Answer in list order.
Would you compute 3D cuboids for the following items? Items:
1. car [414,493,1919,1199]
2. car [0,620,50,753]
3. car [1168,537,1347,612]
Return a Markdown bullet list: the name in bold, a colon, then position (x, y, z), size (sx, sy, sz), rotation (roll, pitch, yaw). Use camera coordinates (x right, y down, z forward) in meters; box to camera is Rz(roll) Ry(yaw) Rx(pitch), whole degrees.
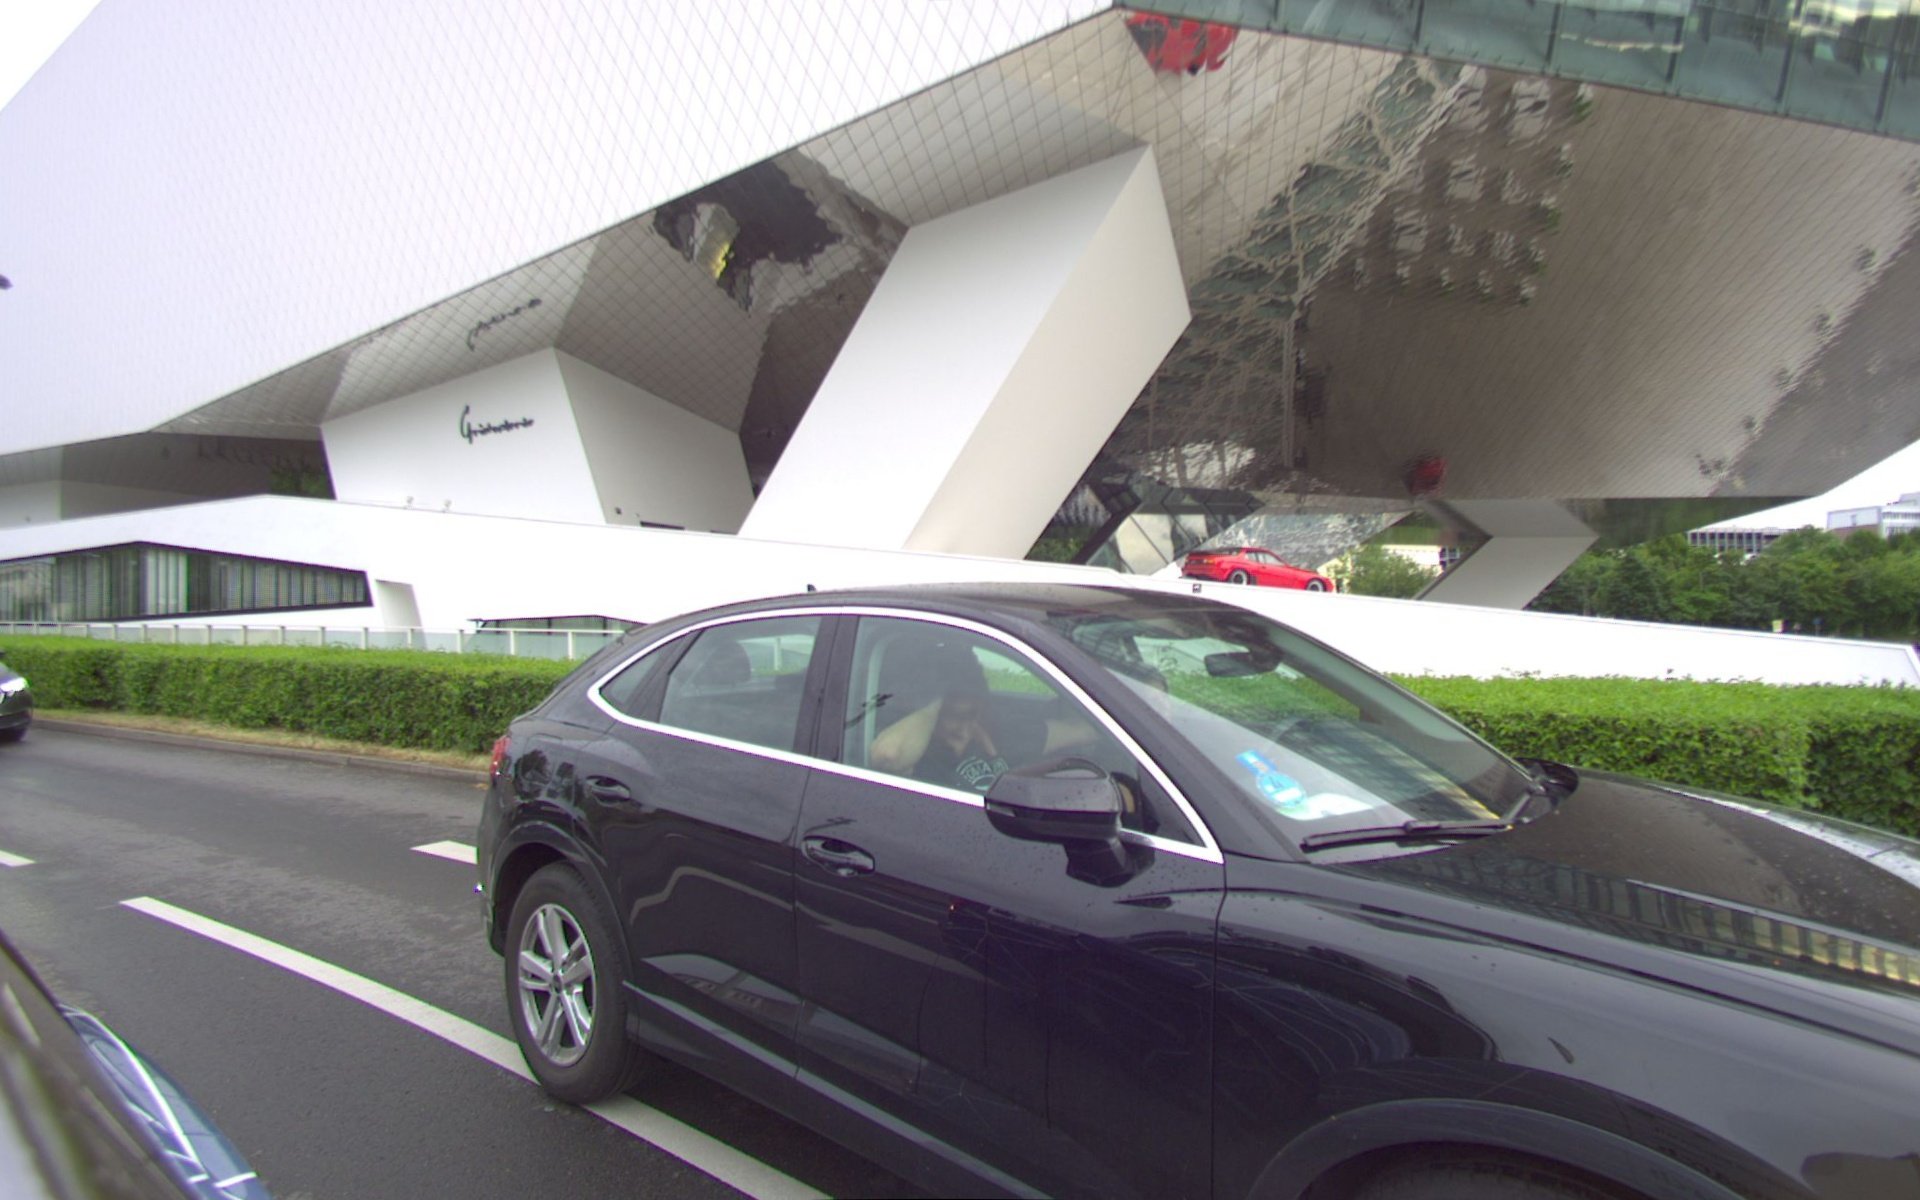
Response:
- **car**: position (0.346, 0.670, 2.705), size (4.392, 1.529, 1.734), rotation (-1, 0, 41)
- **car**: position (-12.691, 0.968, 11.792), size (4.282, 1.449, 1.801), rotation (0, 0, 28)
- **car**: position (8.106, -0.652, 27.719), size (4.175, 1.395, 2.006), rotation (7, -4, -16)
